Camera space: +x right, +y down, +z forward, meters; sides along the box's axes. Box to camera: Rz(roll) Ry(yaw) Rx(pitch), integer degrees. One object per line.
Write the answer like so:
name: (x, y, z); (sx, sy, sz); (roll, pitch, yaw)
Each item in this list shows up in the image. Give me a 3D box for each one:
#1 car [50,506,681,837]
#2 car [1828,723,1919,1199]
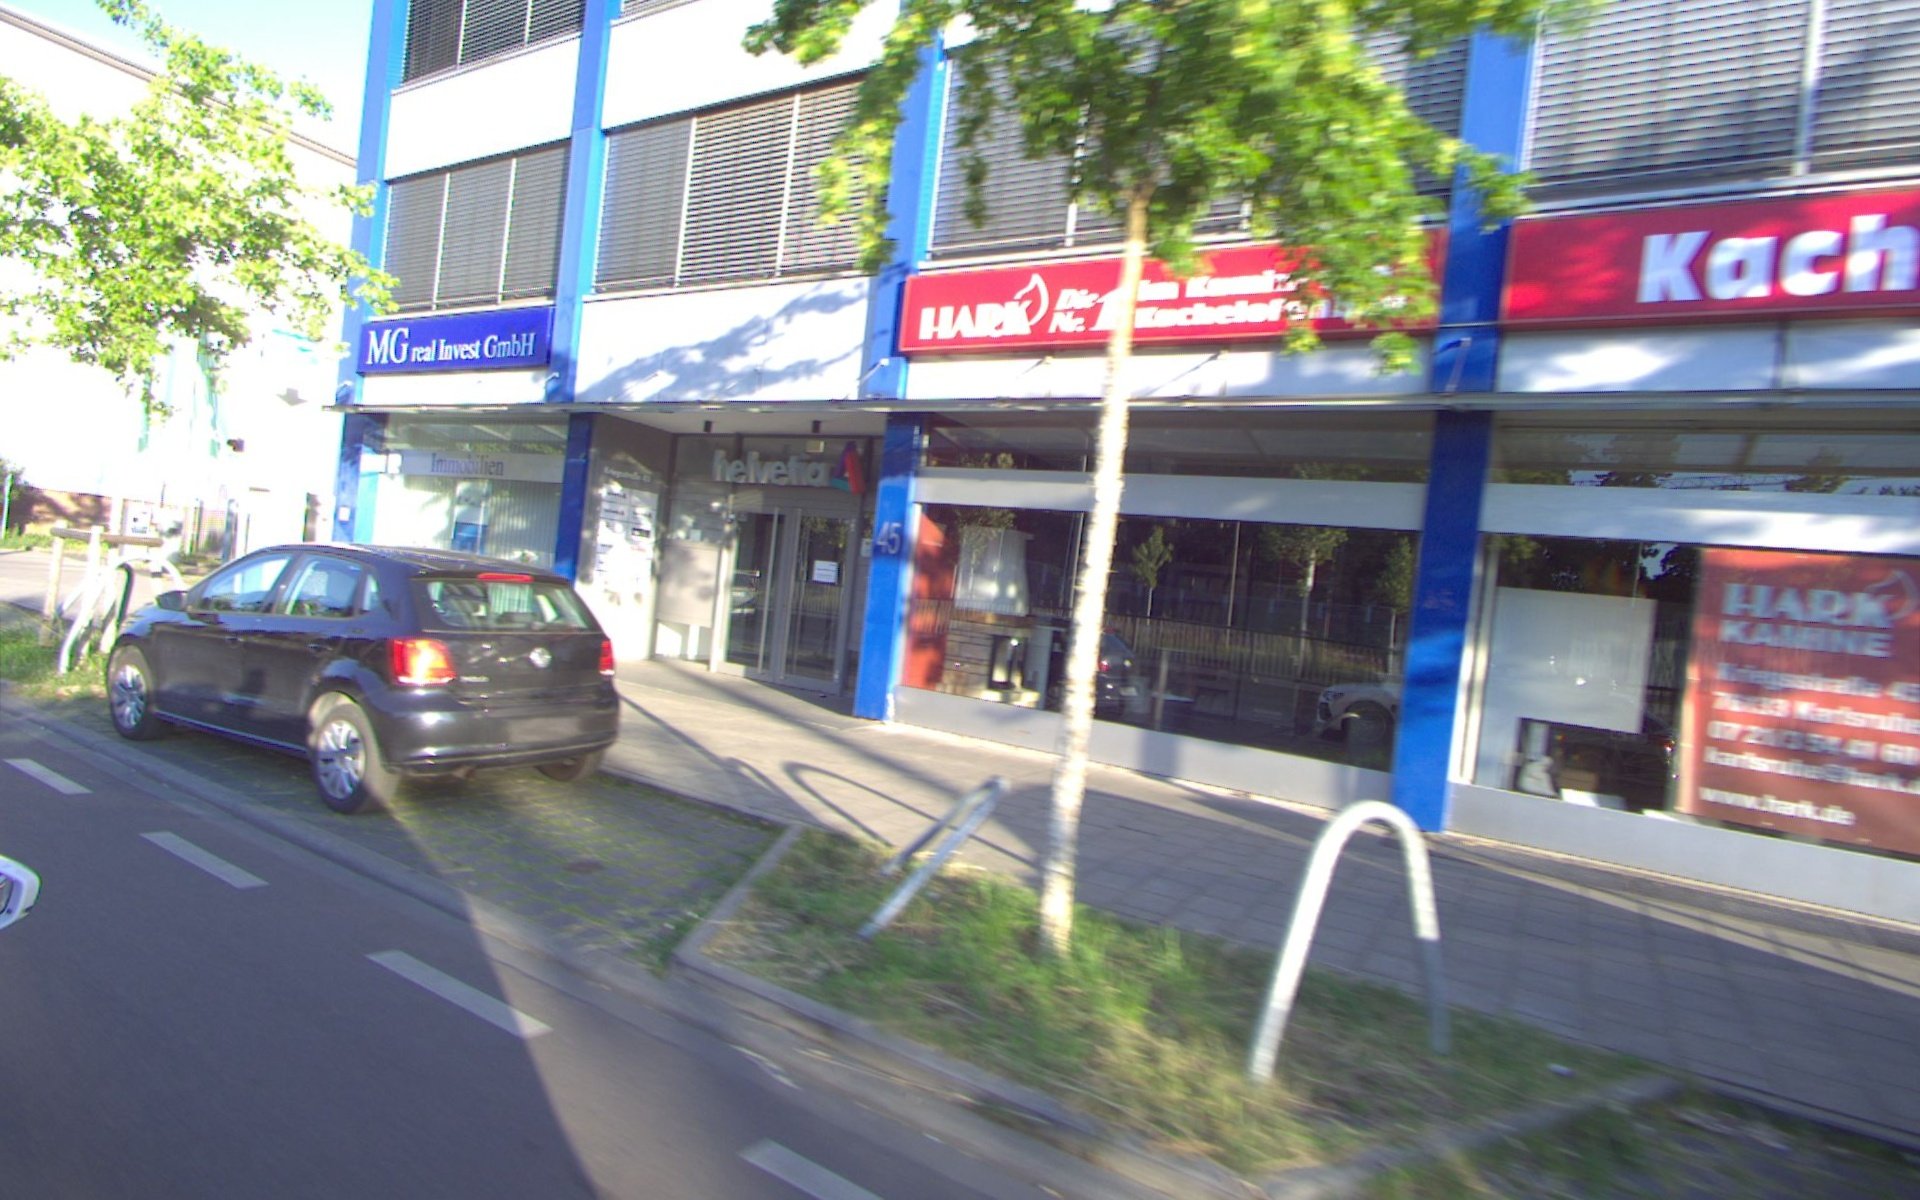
car: (-4.113, 0.314, 6.856); (4.057, 1.473, 1.821); (6, 1, 29)
car: (4.209, 1.276, 1.481); (4.060, 1.473, 1.685); (6, 1, 31)
